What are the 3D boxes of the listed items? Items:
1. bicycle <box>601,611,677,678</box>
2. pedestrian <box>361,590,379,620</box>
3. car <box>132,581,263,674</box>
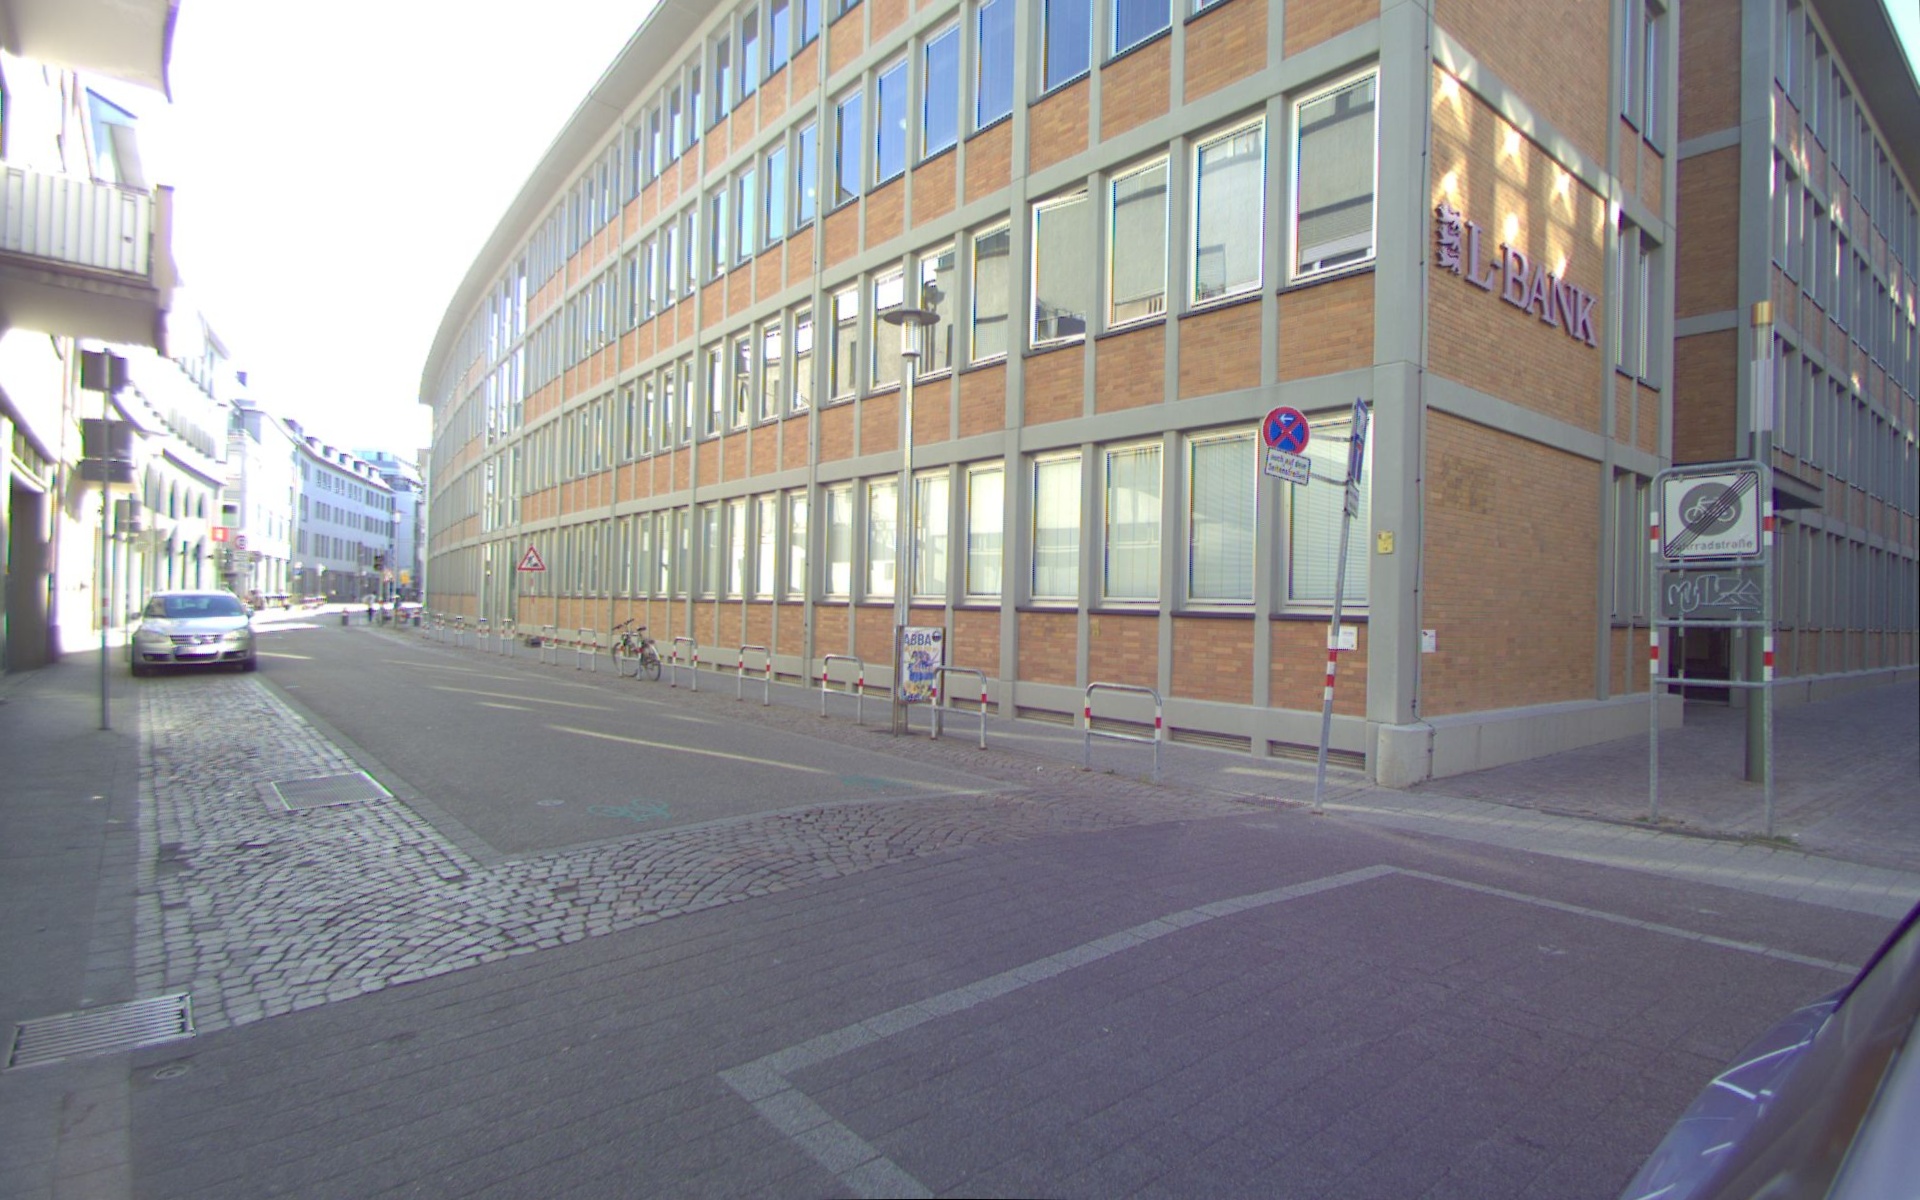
[{"bbox_3d":[-5.852,0.779,18.409,0.627,1.130,1.928,1,0,-40],"label":"bicycle"},{"bbox_3d":[-28.531,0.233,48.924,0.647,1.459,0.595,1,-1,-37],"label":"pedestrian"},{"bbox_3d":[-13.884,0.409,18.407,1.739,1.488,3.810,-1,2,-38],"label":"car"}]
